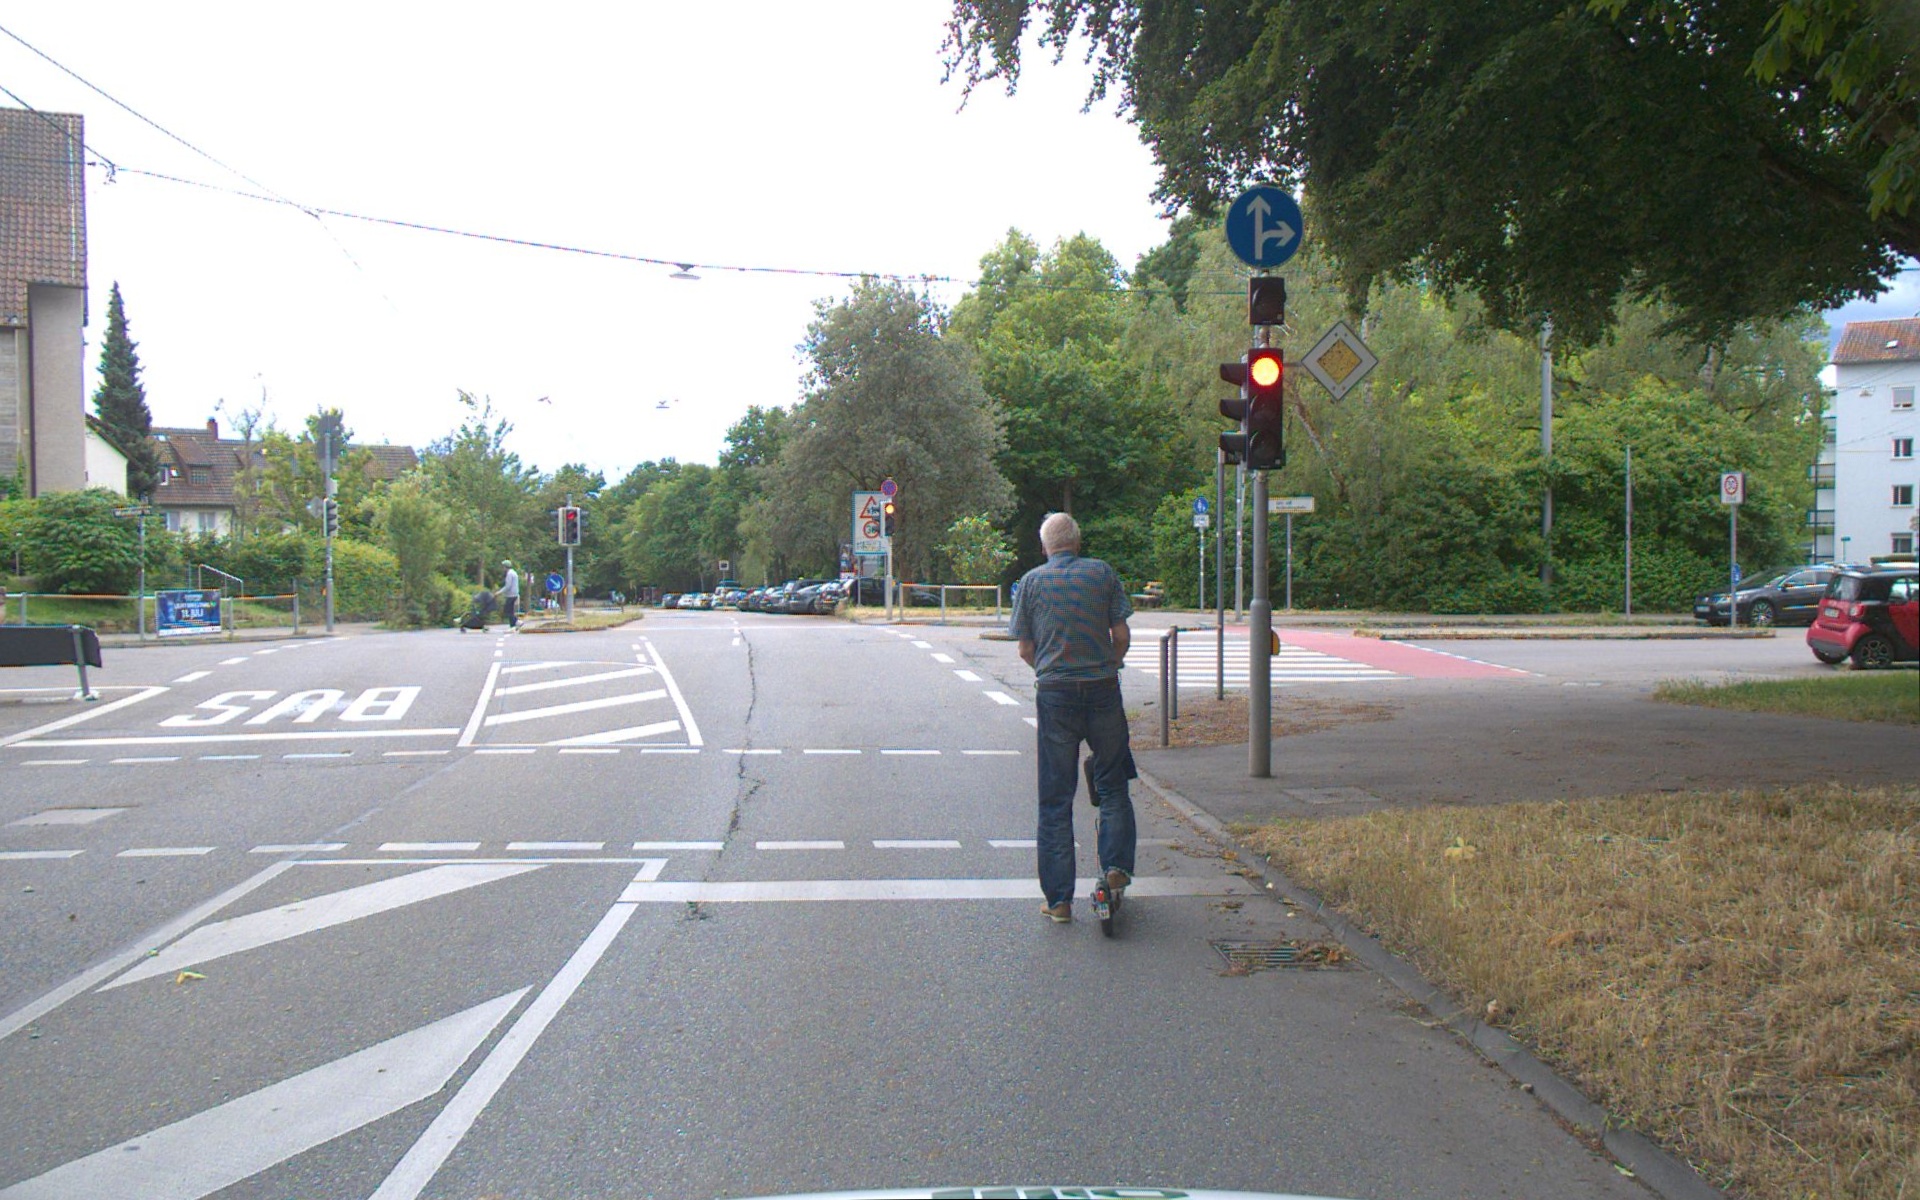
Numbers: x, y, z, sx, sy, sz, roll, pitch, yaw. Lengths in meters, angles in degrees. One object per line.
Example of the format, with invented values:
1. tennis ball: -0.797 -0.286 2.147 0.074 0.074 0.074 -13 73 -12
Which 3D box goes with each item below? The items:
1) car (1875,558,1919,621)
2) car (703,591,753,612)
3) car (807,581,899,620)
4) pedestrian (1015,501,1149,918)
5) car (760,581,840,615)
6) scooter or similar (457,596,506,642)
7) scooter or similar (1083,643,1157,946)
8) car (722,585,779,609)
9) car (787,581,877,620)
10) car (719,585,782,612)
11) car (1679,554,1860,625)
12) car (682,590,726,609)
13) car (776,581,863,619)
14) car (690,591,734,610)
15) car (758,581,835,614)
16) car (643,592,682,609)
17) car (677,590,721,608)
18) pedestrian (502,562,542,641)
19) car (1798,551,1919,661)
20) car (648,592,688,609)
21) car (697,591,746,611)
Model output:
1. car: 26.404 -0.335 45.810 1.689 1.639 3.850 -1 1 27
2. car: -19.448 0.119 138.790 3.790 1.639 1.716 -2 1 -24
3. car: -4.842 0.013 74.710 3.787 1.639 1.717 -2 1 -22
4. pedestrian: 0.566 0.485 7.561 0.560 1.845 0.421 -1 0 7
5. car: -8.360 -0.129 86.517 3.790 1.639 1.716 -2 1 -24
6. scooter or similar: -11.699 0.466 40.424 1.088 1.100 0.576 -1 0 -12
7. scooter or similar: 0.727 0.816 7.388 0.276 1.199 1.178 -1 1 7
8. car: -15.429 -0.225 121.654 3.790 1.639 1.716 -2 1 -24
9. car: -5.927 0.007 76.664 3.792 1.639 1.715 -2 1 -25
10. car: -13.774 -0.088 108.711 3.790 1.639 1.716 -2 1 -24
11. car: 19.152 -0.262 39.231 3.444 1.557 1.729 -2 1 5
12. car: -24.108 -0.062 155.832 3.790 1.639 1.716 -2 1 -24
13. car: -6.721 -0.012 79.193 3.790 1.639 1.716 -2 1 -24
14. car: -23.049 0.011 153.715 3.790 1.639 1.716 -2 1 -24
15. car: -8.798 -0.143 88.923 3.790 1.639 1.716 -2 1 -24
16. car: -31.918 0.072 177.482 3.790 1.639 1.716 -2 1 -24
17. car: -24.970 -0.087 158.329 3.790 1.639 1.716 -2 1 -24
18. pedestrian: -10.747 0.029 40.615 0.867 1.895 0.573 -1 0 -9
19. car: 15.253 0.048 25.829 3.444 1.639 1.729 -2 1 4
20. car: -30.909 0.013 175.160 3.790 1.639 1.716 -2 1 -24
21. car: -20.542 0.087 142.448 3.790 1.639 1.716 -2 1 -24
